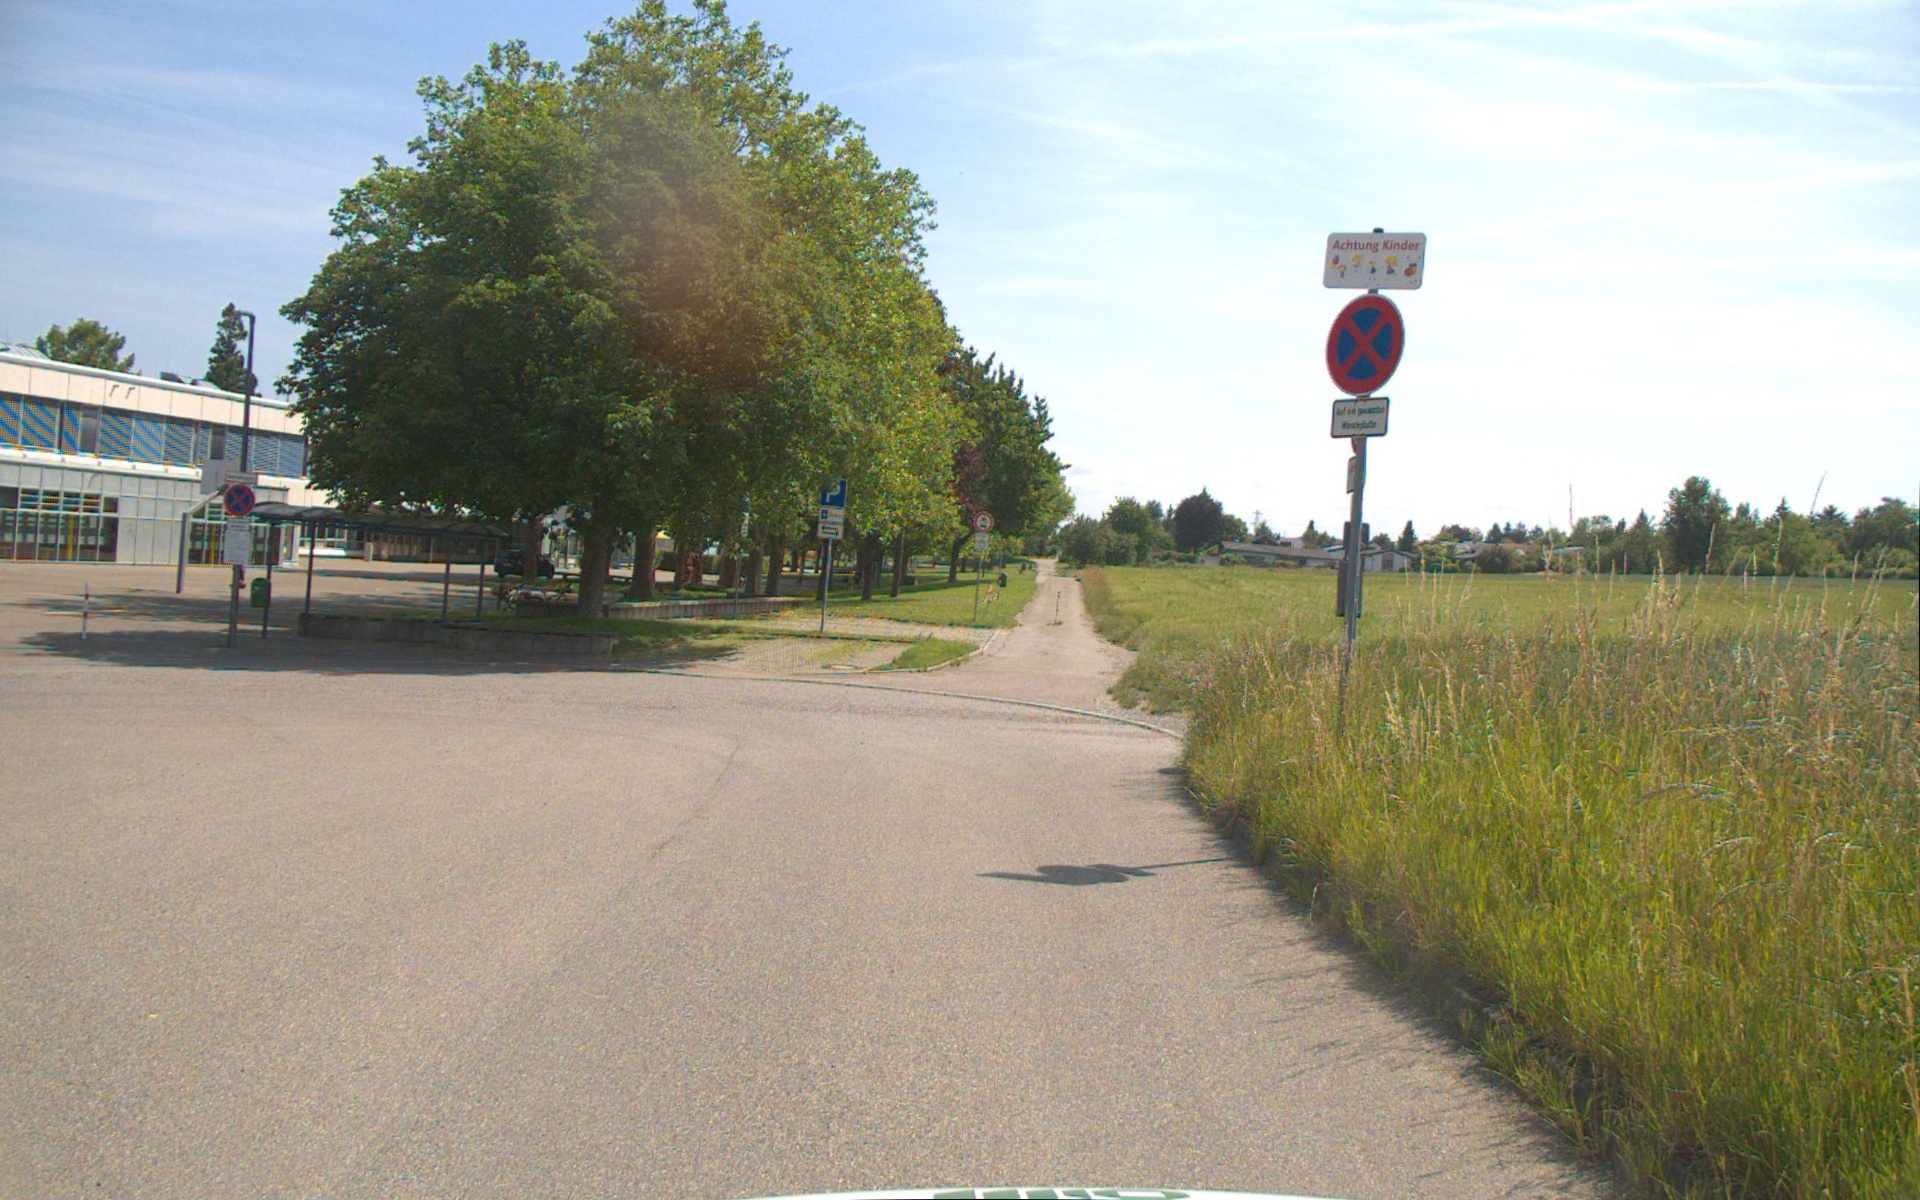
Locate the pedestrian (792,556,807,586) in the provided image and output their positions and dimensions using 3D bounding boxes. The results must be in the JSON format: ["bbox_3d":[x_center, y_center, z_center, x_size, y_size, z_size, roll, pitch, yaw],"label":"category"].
[{"bbox_3d":[-11.219,-2.047,115.465,0.818,2.048,0.689,3,0,-14],"label":"pedestrian"}]

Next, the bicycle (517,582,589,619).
[{"bbox_3d":[-12.309,0.013,50.093,2.022,1.057,0.571,2,1,-6],"label":"bicycle"}]

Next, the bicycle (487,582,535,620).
[{"bbox_3d":[-13.017,0.016,48.023,0.582,1.057,1.894,2,1,10],"label":"bicycle"}]

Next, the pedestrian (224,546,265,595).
[{"bbox_3d":[-22.191,-0.928,51.291,1.053,1.448,0.912,3,0,-26],"label":"pedestrian"}]

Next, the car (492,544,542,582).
[{"bbox_3d":[-23.260,-1.951,86.949,1.656,1.866,3.411,3,1,0],"label":"car"}]

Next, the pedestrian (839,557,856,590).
[{"bbox_3d":[-7.306,-1.721,107.435,0.675,2.048,0.795,3,0,-30],"label":"pedestrian"}]
